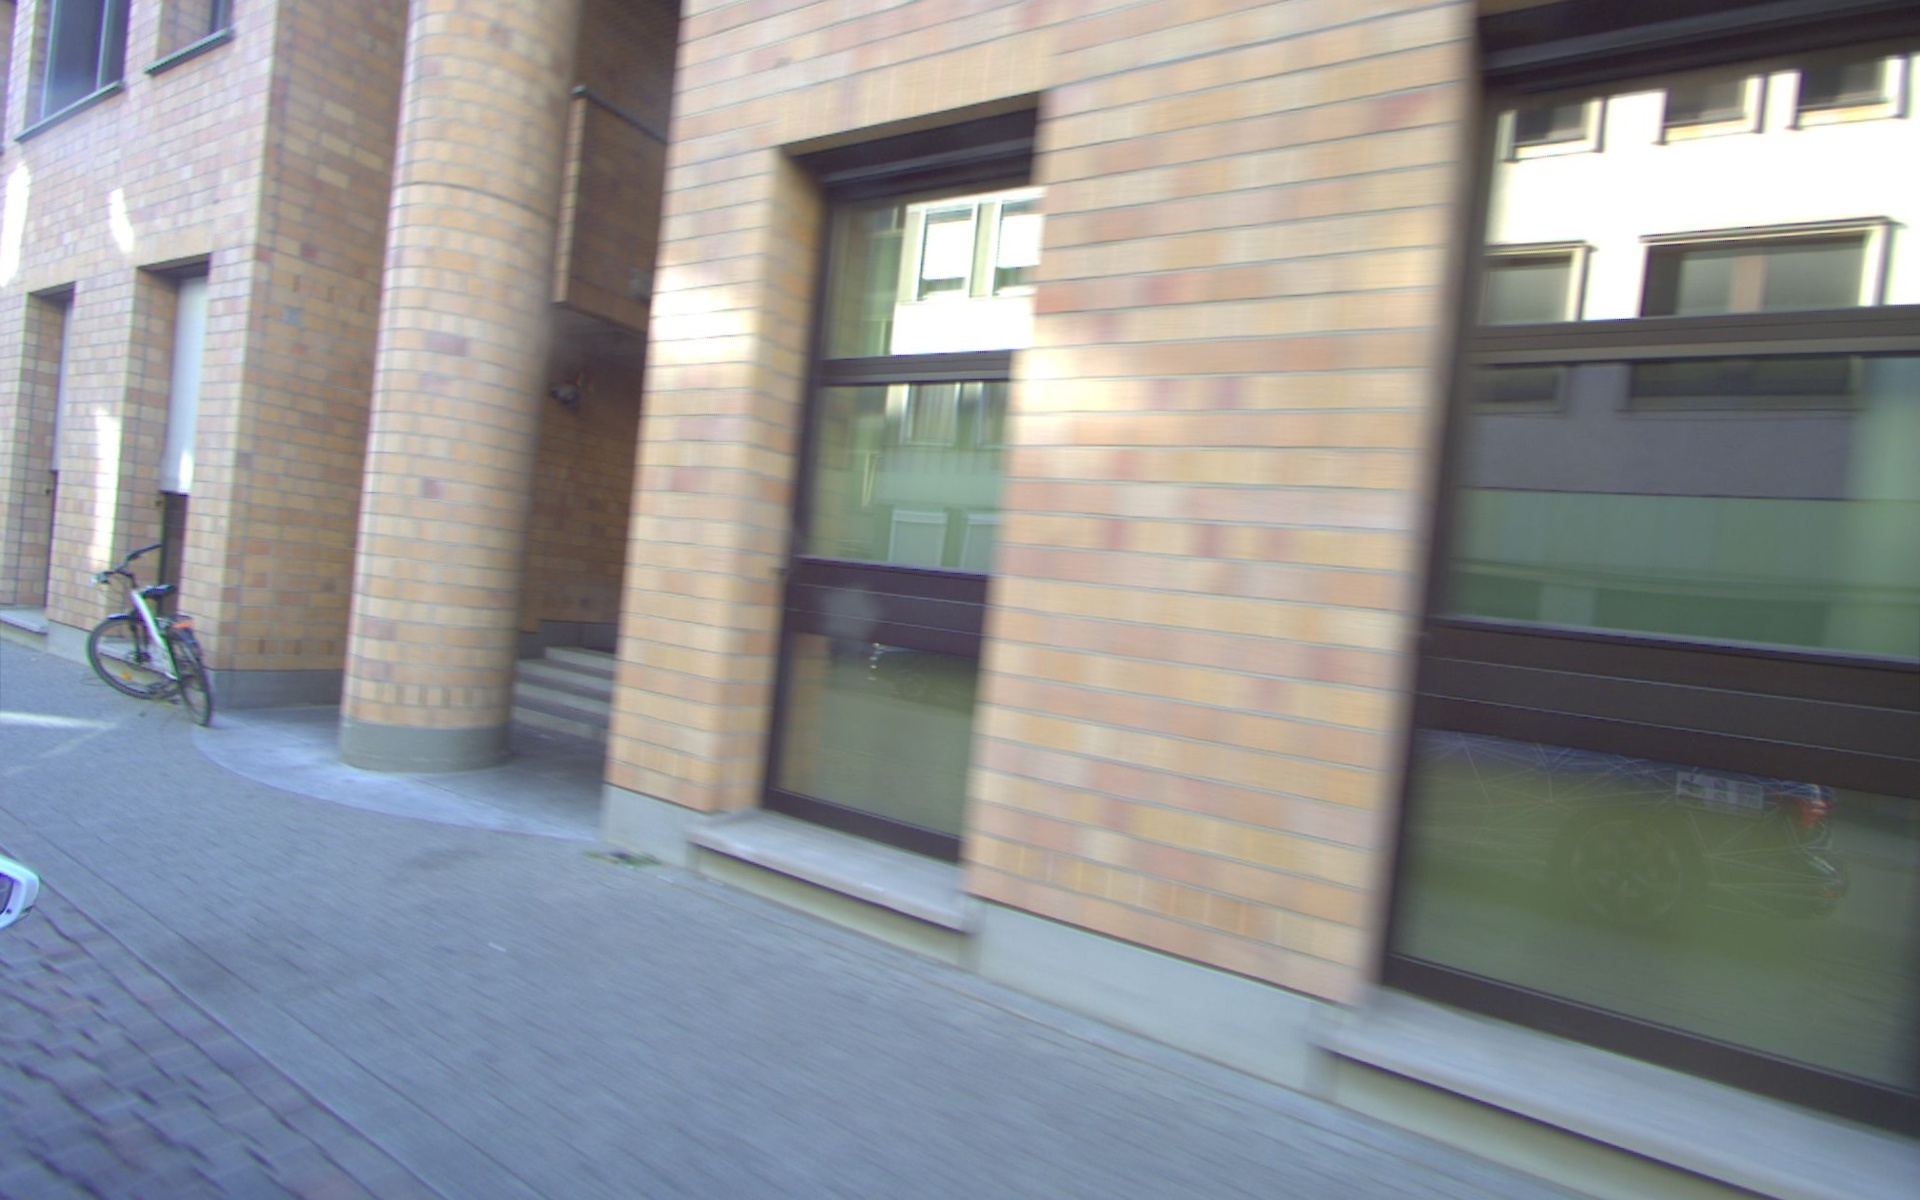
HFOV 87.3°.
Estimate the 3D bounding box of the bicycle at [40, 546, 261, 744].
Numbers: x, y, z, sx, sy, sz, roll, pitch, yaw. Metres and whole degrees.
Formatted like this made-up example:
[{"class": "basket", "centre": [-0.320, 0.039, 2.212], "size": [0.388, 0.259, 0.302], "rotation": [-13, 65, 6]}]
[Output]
[{"class": "bicycle", "centre": [-5.709, 0.259, 7.052], "size": [1.949, 1.119, 0.549], "rotation": [7, 4, 31]}]
